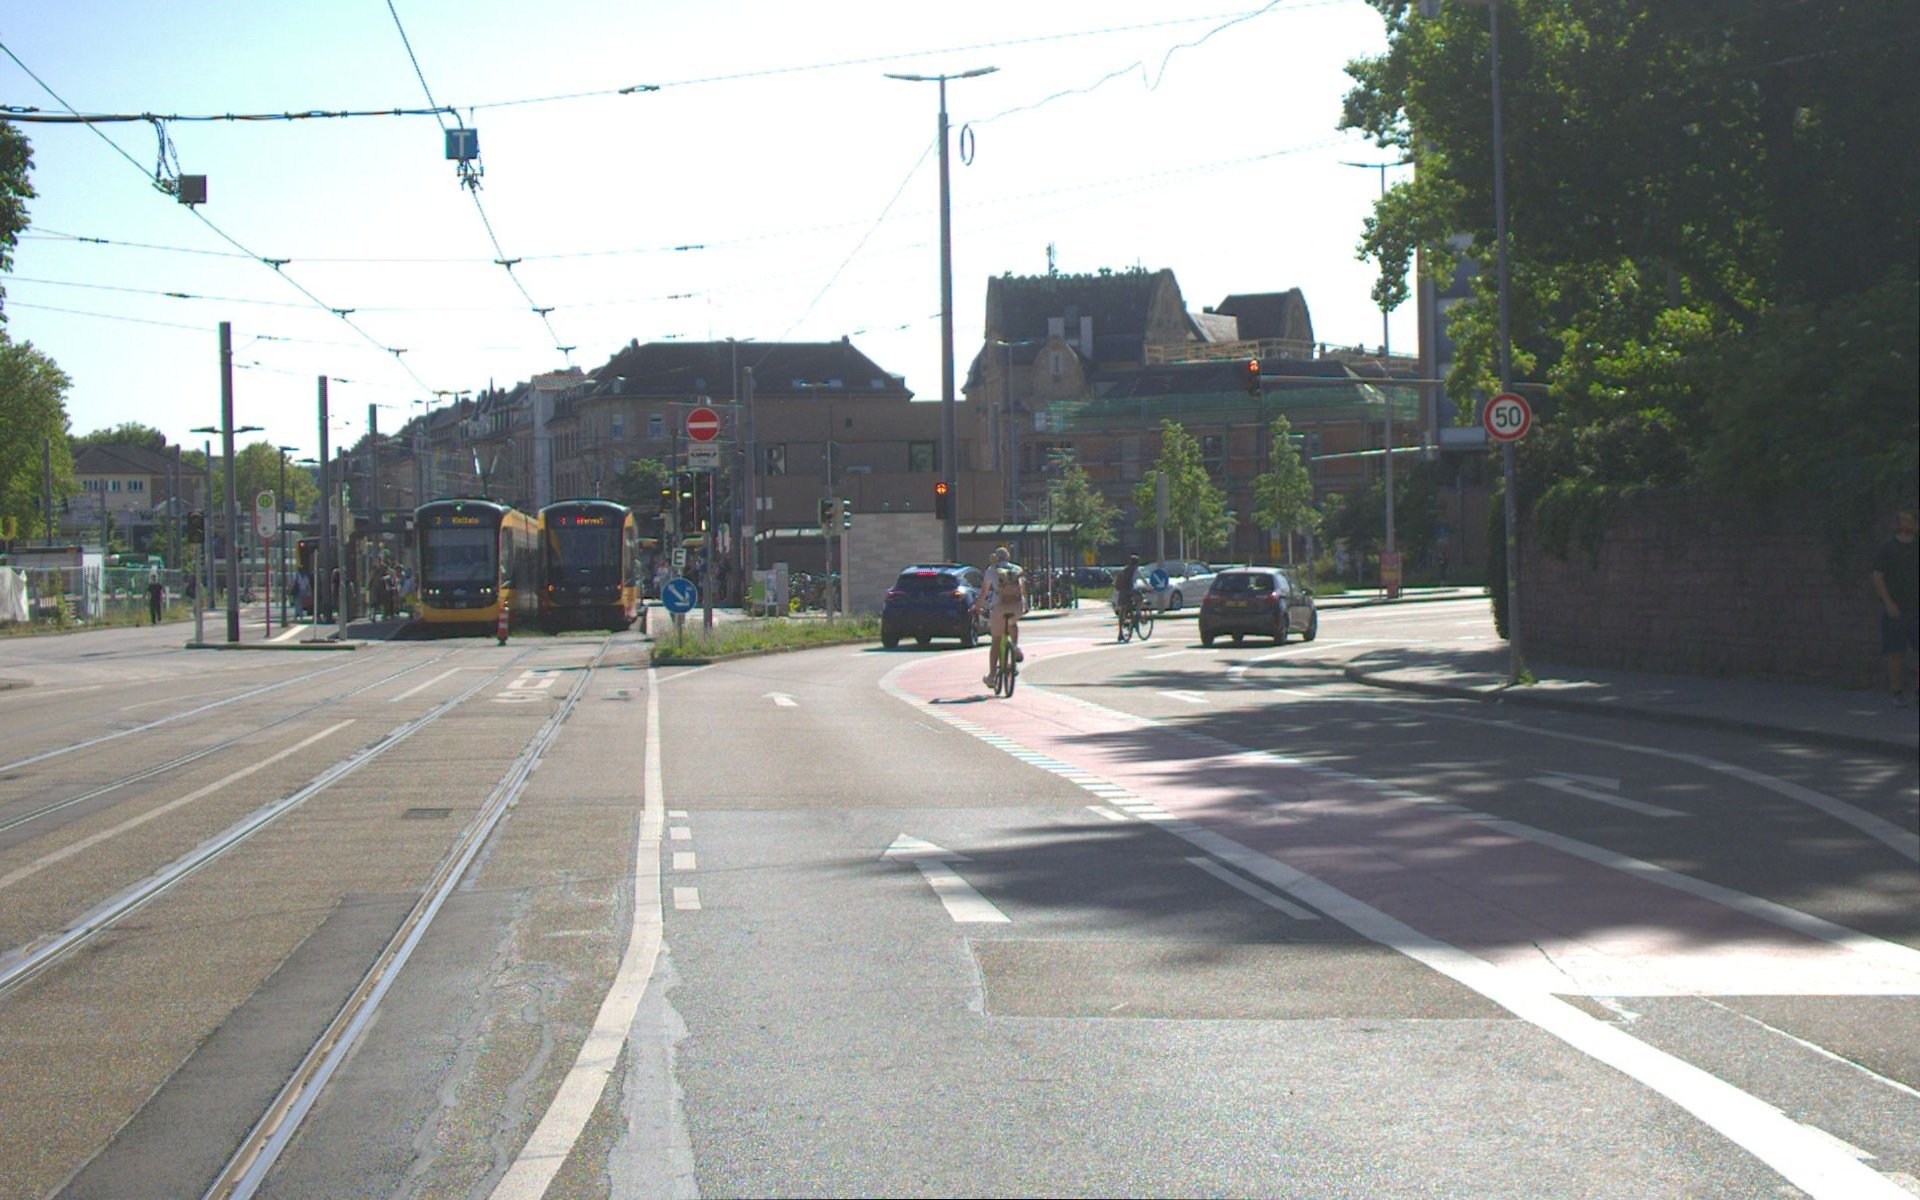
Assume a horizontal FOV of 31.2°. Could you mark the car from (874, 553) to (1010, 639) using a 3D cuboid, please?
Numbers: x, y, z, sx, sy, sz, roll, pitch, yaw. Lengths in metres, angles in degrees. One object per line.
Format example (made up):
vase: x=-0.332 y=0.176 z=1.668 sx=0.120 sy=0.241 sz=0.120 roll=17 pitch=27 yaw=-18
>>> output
car: x=-0.320 y=-0.107 z=66.839 sx=1.790 sy=1.599 sz=3.710 roll=1 pitch=1 yaw=14

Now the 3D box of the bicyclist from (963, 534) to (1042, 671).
bicyclist: x=0.532 y=0.018 z=42.629 sx=0.705 sy=1.669 sz=1.100 roll=1 pitch=1 yaw=15

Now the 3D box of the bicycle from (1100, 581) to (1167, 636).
bicycle: x=3.526 y=0.160 z=69.720 sx=0.705 sy=1.051 sz=2.311 roll=2 pitch=2 yaw=20

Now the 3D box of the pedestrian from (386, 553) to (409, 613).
pedestrian: x=-17.048 y=-0.520 z=104.261 sx=0.626 sy=1.821 sz=0.662 roll=-1 pitch=0 yaw=-6

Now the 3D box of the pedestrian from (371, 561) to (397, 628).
pedestrian: x=-15.800 y=-0.141 z=94.248 sx=0.626 sy=1.821 sz=0.662 roll=-1 pitch=0 yaw=-6

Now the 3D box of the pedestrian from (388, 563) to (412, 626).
pedestrian: x=-16.253 y=-0.172 z=99.836 sx=0.626 sy=1.821 sz=0.662 roll=-1 pitch=0 yaw=-6

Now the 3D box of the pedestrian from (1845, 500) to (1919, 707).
pedestrian: x=8.882 y=0.020 z=32.393 sx=0.637 sy=1.897 sz=1.135 roll=-3 pitch=1 yaw=-4

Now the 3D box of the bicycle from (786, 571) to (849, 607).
bicycle: x=-4.501 y=-0.344 z=108.739 sx=1.933 sy=1.099 sz=0.599 roll=-1 pitch=1 yaw=-7

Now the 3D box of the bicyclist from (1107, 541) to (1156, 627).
bicyclist: x=3.473 y=-0.327 z=69.527 sx=0.705 sy=1.694 sz=0.986 roll=2 pitch=2 yaw=20

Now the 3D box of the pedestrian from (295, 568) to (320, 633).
pedestrian: x=-18.548 y=0.005 z=97.758 sx=0.626 sy=1.821 sz=0.662 roll=-1 pitch=0 yaw=-6

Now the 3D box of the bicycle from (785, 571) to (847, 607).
bicycle: x=-4.590 y=-0.348 z=109.504 sx=1.933 sy=1.099 sz=0.599 roll=-1 pitch=1 yaw=-7

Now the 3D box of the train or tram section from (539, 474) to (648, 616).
train or tram section: x=-10.161 y=-1.535 z=95.744 sx=2.741 sy=3.639 sz=13.788 roll=-1 pitch=1 yaw=-6

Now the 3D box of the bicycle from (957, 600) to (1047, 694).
bicycle: x=0.529 y=0.570 z=42.662 sx=0.705 sy=1.101 sz=1.716 roll=1 pitch=1 yaw=15

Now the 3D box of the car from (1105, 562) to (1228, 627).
car: x=5.412 y=-0.152 z=89.587 sx=1.704 sy=1.638 sz=3.706 roll=1 pitch=1 yaw=30

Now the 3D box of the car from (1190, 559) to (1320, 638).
car: x=5.912 y=-0.054 z=68.535 sx=1.790 sy=1.506 sz=3.709 roll=1 pitch=1 yaw=18

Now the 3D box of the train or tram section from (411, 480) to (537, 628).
train or tram section: x=-12.975 y=-1.267 z=92.620 sx=2.741 sy=3.639 sz=13.788 roll=-1 pitch=1 yaw=-6

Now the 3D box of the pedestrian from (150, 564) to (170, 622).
pedestrian: x=-28.194 y=-0.253 z=121.149 sx=0.525 sy=2.007 sz=0.522 roll=-1 pitch=0 yaw=0
